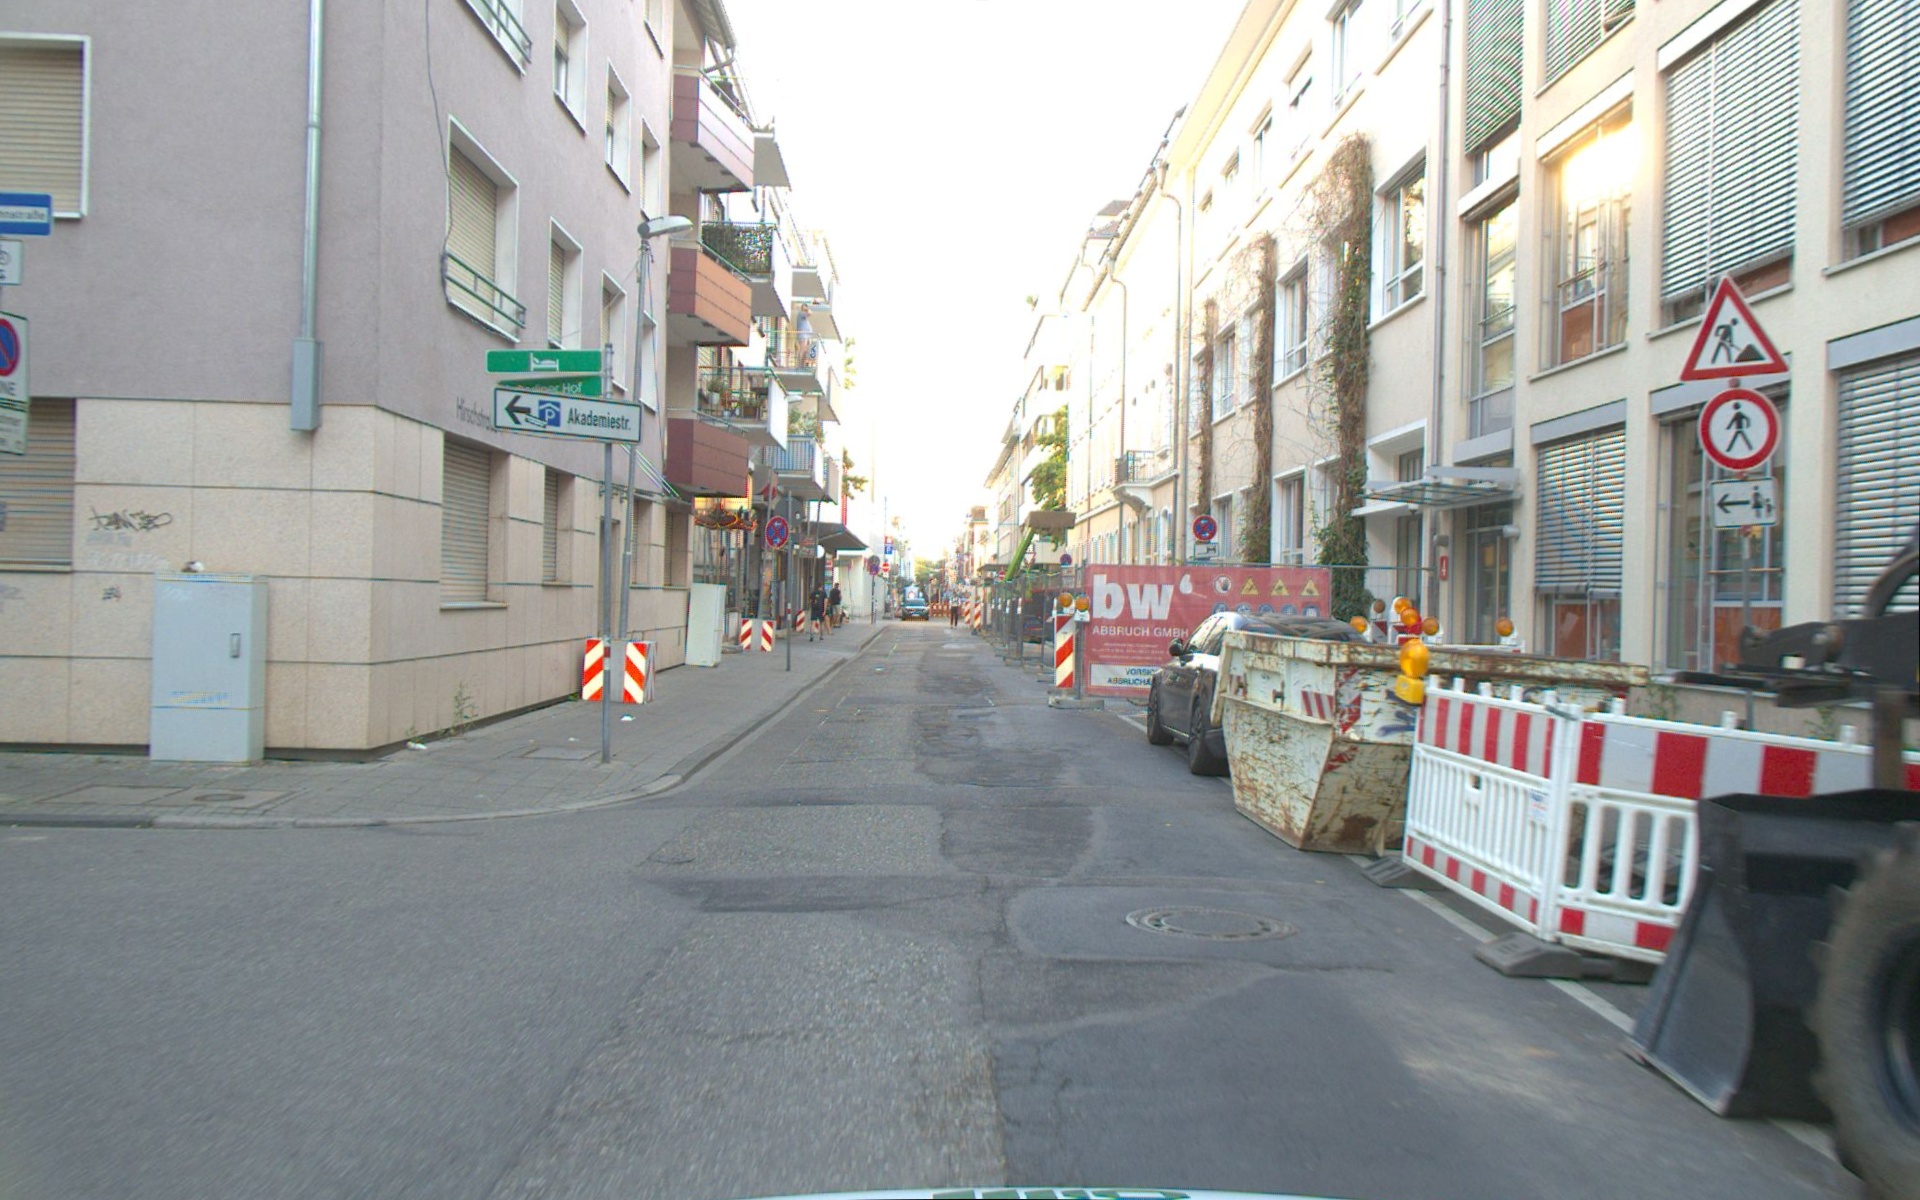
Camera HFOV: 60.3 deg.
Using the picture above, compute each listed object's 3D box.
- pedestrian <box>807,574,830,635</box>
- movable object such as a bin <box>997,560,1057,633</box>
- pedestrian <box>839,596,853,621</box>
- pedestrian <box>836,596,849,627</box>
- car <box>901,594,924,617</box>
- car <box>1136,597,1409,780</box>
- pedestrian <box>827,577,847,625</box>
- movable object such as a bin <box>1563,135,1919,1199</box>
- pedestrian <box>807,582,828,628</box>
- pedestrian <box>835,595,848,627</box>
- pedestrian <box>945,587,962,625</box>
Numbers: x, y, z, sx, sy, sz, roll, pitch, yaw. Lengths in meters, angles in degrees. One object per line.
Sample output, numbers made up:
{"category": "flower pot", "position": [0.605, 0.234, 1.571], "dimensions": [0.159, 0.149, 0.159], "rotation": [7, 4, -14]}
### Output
{"category": "pedestrian", "position": [-4.331, 0.131, 50.810], "dimensions": [0.616, 1.840, 0.647], "rotation": [1, 0, 0]}
{"category": "movable object such as a bin", "position": [3.089, -0.198, 76.979], "dimensions": [2.420, 3.185, 4.297], "rotation": [2, 1, -1]}
{"category": "pedestrian", "position": [-5.433, 0.392, 79.012], "dimensions": [0.605, 1.192, 0.787], "rotation": [1, 0, -2]}
{"category": "pedestrian", "position": [-5.374, 0.513, 75.918], "dimensions": [0.531, 1.412, 0.625], "rotation": [1, 0, -1]}
{"category": "car", "position": [-3.110, 0.347, 108.288], "dimensions": [1.444, 1.422, 3.331], "rotation": [1, 0, -1]}
{"category": "car", "position": [2.819, 0.729, 15.876], "dimensions": [1.659, 1.430, 4.478], "rotation": [2, 0, -1]}
{"category": "pedestrian", "position": [-5.036, 0.039, 67.791], "dimensions": [0.640, 1.919, 0.574], "rotation": [1, 0, 9]}
{"category": "movable object such as a bin", "position": [3.366, 0.227, 3.339], "dimensions": [2.122, 2.641, 5.541], "rotation": [1, 0, -1]}
{"category": "pedestrian", "position": [-5.003, 0.184, 58.113], "dimensions": [0.635, 1.592, 0.628], "rotation": [1, 0, -16]}
{"category": "pedestrian", "position": [-5.364, 0.496, 74.796], "dimensions": [0.547, 1.415, 0.892], "rotation": [1, 0, -1]}
{"category": "pedestrian", "position": [-0.307, 0.285, 77.347], "dimensions": [0.706, 1.770, 0.647], "rotation": [1, 0, -4]}
